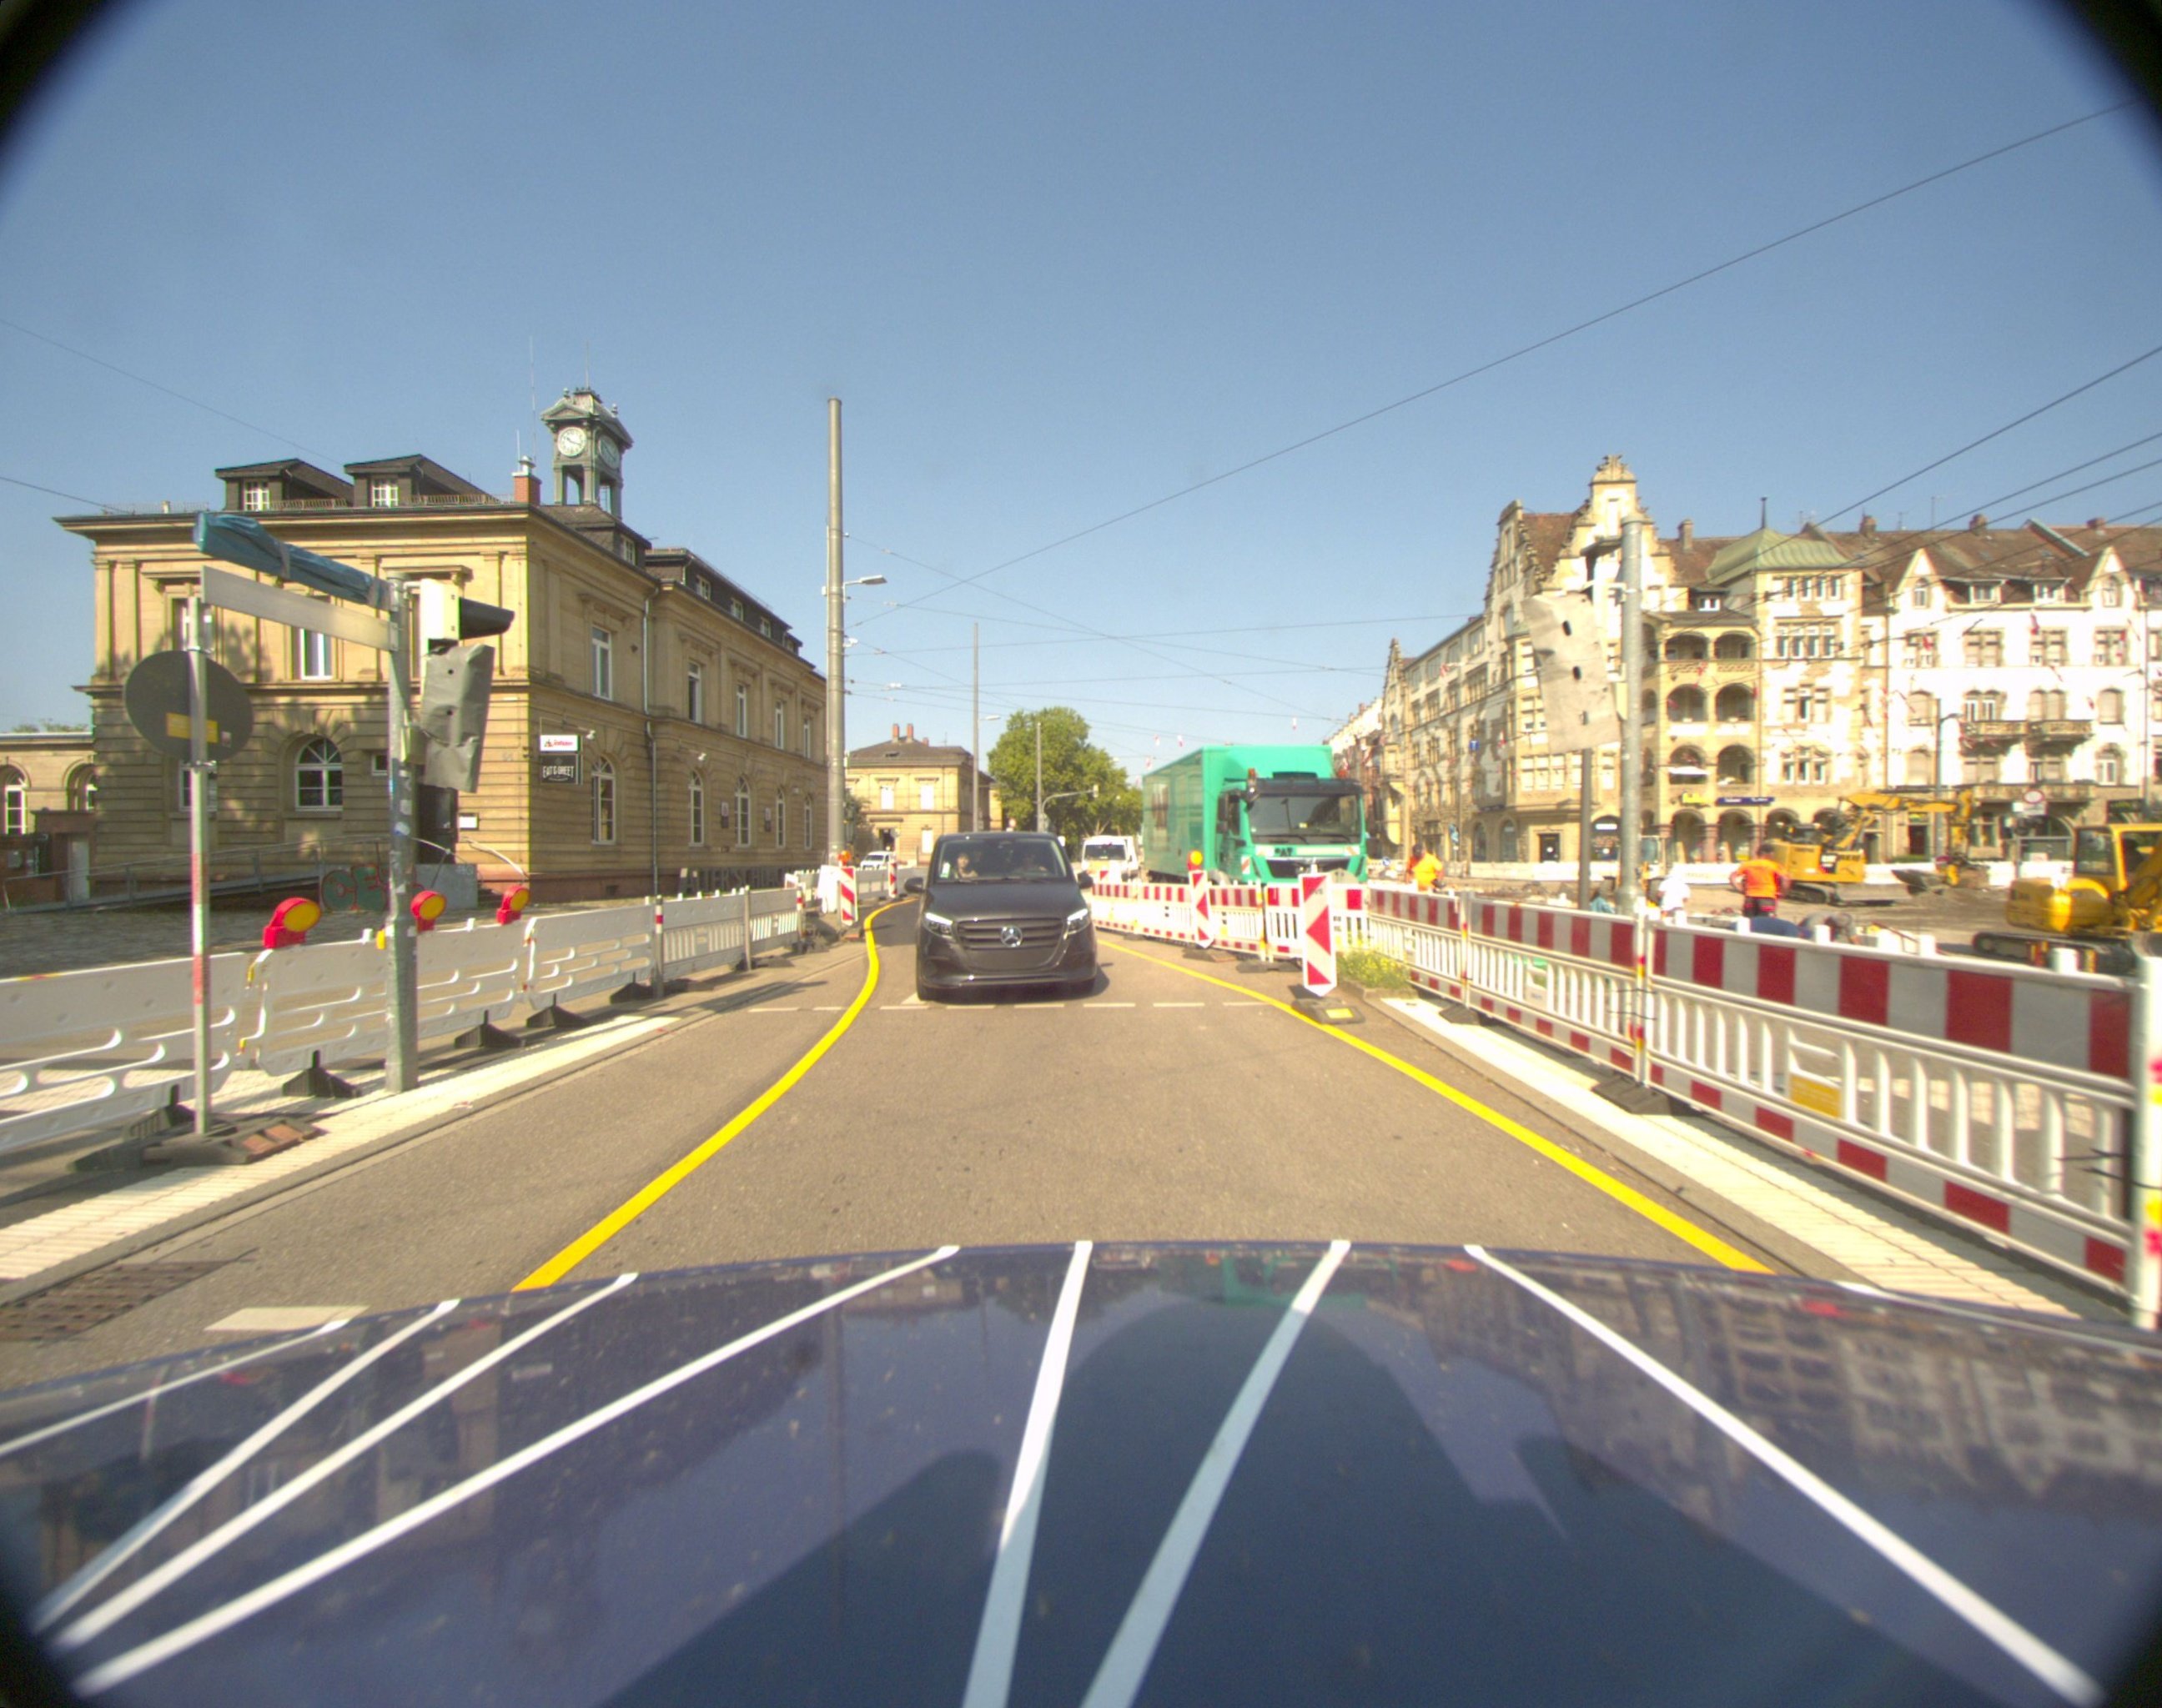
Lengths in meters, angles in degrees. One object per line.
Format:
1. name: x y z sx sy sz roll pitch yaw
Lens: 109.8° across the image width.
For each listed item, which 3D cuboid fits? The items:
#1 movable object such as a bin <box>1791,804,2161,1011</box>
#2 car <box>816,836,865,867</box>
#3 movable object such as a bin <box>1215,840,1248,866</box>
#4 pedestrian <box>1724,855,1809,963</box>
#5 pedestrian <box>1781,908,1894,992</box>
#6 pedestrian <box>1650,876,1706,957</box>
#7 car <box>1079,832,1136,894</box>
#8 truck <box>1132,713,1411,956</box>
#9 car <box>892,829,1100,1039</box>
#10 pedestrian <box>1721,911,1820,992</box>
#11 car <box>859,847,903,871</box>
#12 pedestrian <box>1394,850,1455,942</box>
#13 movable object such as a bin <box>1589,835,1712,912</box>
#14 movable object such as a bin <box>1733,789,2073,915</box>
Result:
1. movable object such as a bin: 17.259 0.682 12.494 3.621 2.941 8.477 -1 1 4
2. car: -19.147 -0.200 60.768 2.264 2.408 5.488 0 0 0
3. movable object such as a bin: 9.247 -0.057 46.862 1.603 1.550 3.287 0 0 5
4. pedestrian: 10.260 0.789 11.383 0.558 1.557 0.816 0 0 -33
5. pedestrian: 9.791 1.221 9.869 0.512 0.982 0.935 0 0 -2
6. pedestrian: 11.948 1.239 15.228 0.701 1.557 0.557 0 0 15
7. car: 1.236 0.376 33.462 2.212 2.410 7.202 0 0 3
8. truck: 3.417 -0.311 16.530 2.801 3.889 8.412 -2 0 -9
9. car: -1.012 0.718 9.151 1.854 1.875 4.176 -2 1 -6
10. pedestrian: 8.657 1.203 9.565 0.820 0.920 0.513 0 0 29
11. car: -15.538 0.392 59.200 1.907 1.773 4.227 1 1 7
12. pedestrian: 5.958 0.713 13.205 0.762 1.557 0.691 0 0 3
13. movable object such as a bin: 22.825 0.706 30.435 4.825 2.818 2.443 0 1 -34
14. movable object such as a bin: 31.102 -0.150 29.490 7.366 4.323 4.975 0 2 17
